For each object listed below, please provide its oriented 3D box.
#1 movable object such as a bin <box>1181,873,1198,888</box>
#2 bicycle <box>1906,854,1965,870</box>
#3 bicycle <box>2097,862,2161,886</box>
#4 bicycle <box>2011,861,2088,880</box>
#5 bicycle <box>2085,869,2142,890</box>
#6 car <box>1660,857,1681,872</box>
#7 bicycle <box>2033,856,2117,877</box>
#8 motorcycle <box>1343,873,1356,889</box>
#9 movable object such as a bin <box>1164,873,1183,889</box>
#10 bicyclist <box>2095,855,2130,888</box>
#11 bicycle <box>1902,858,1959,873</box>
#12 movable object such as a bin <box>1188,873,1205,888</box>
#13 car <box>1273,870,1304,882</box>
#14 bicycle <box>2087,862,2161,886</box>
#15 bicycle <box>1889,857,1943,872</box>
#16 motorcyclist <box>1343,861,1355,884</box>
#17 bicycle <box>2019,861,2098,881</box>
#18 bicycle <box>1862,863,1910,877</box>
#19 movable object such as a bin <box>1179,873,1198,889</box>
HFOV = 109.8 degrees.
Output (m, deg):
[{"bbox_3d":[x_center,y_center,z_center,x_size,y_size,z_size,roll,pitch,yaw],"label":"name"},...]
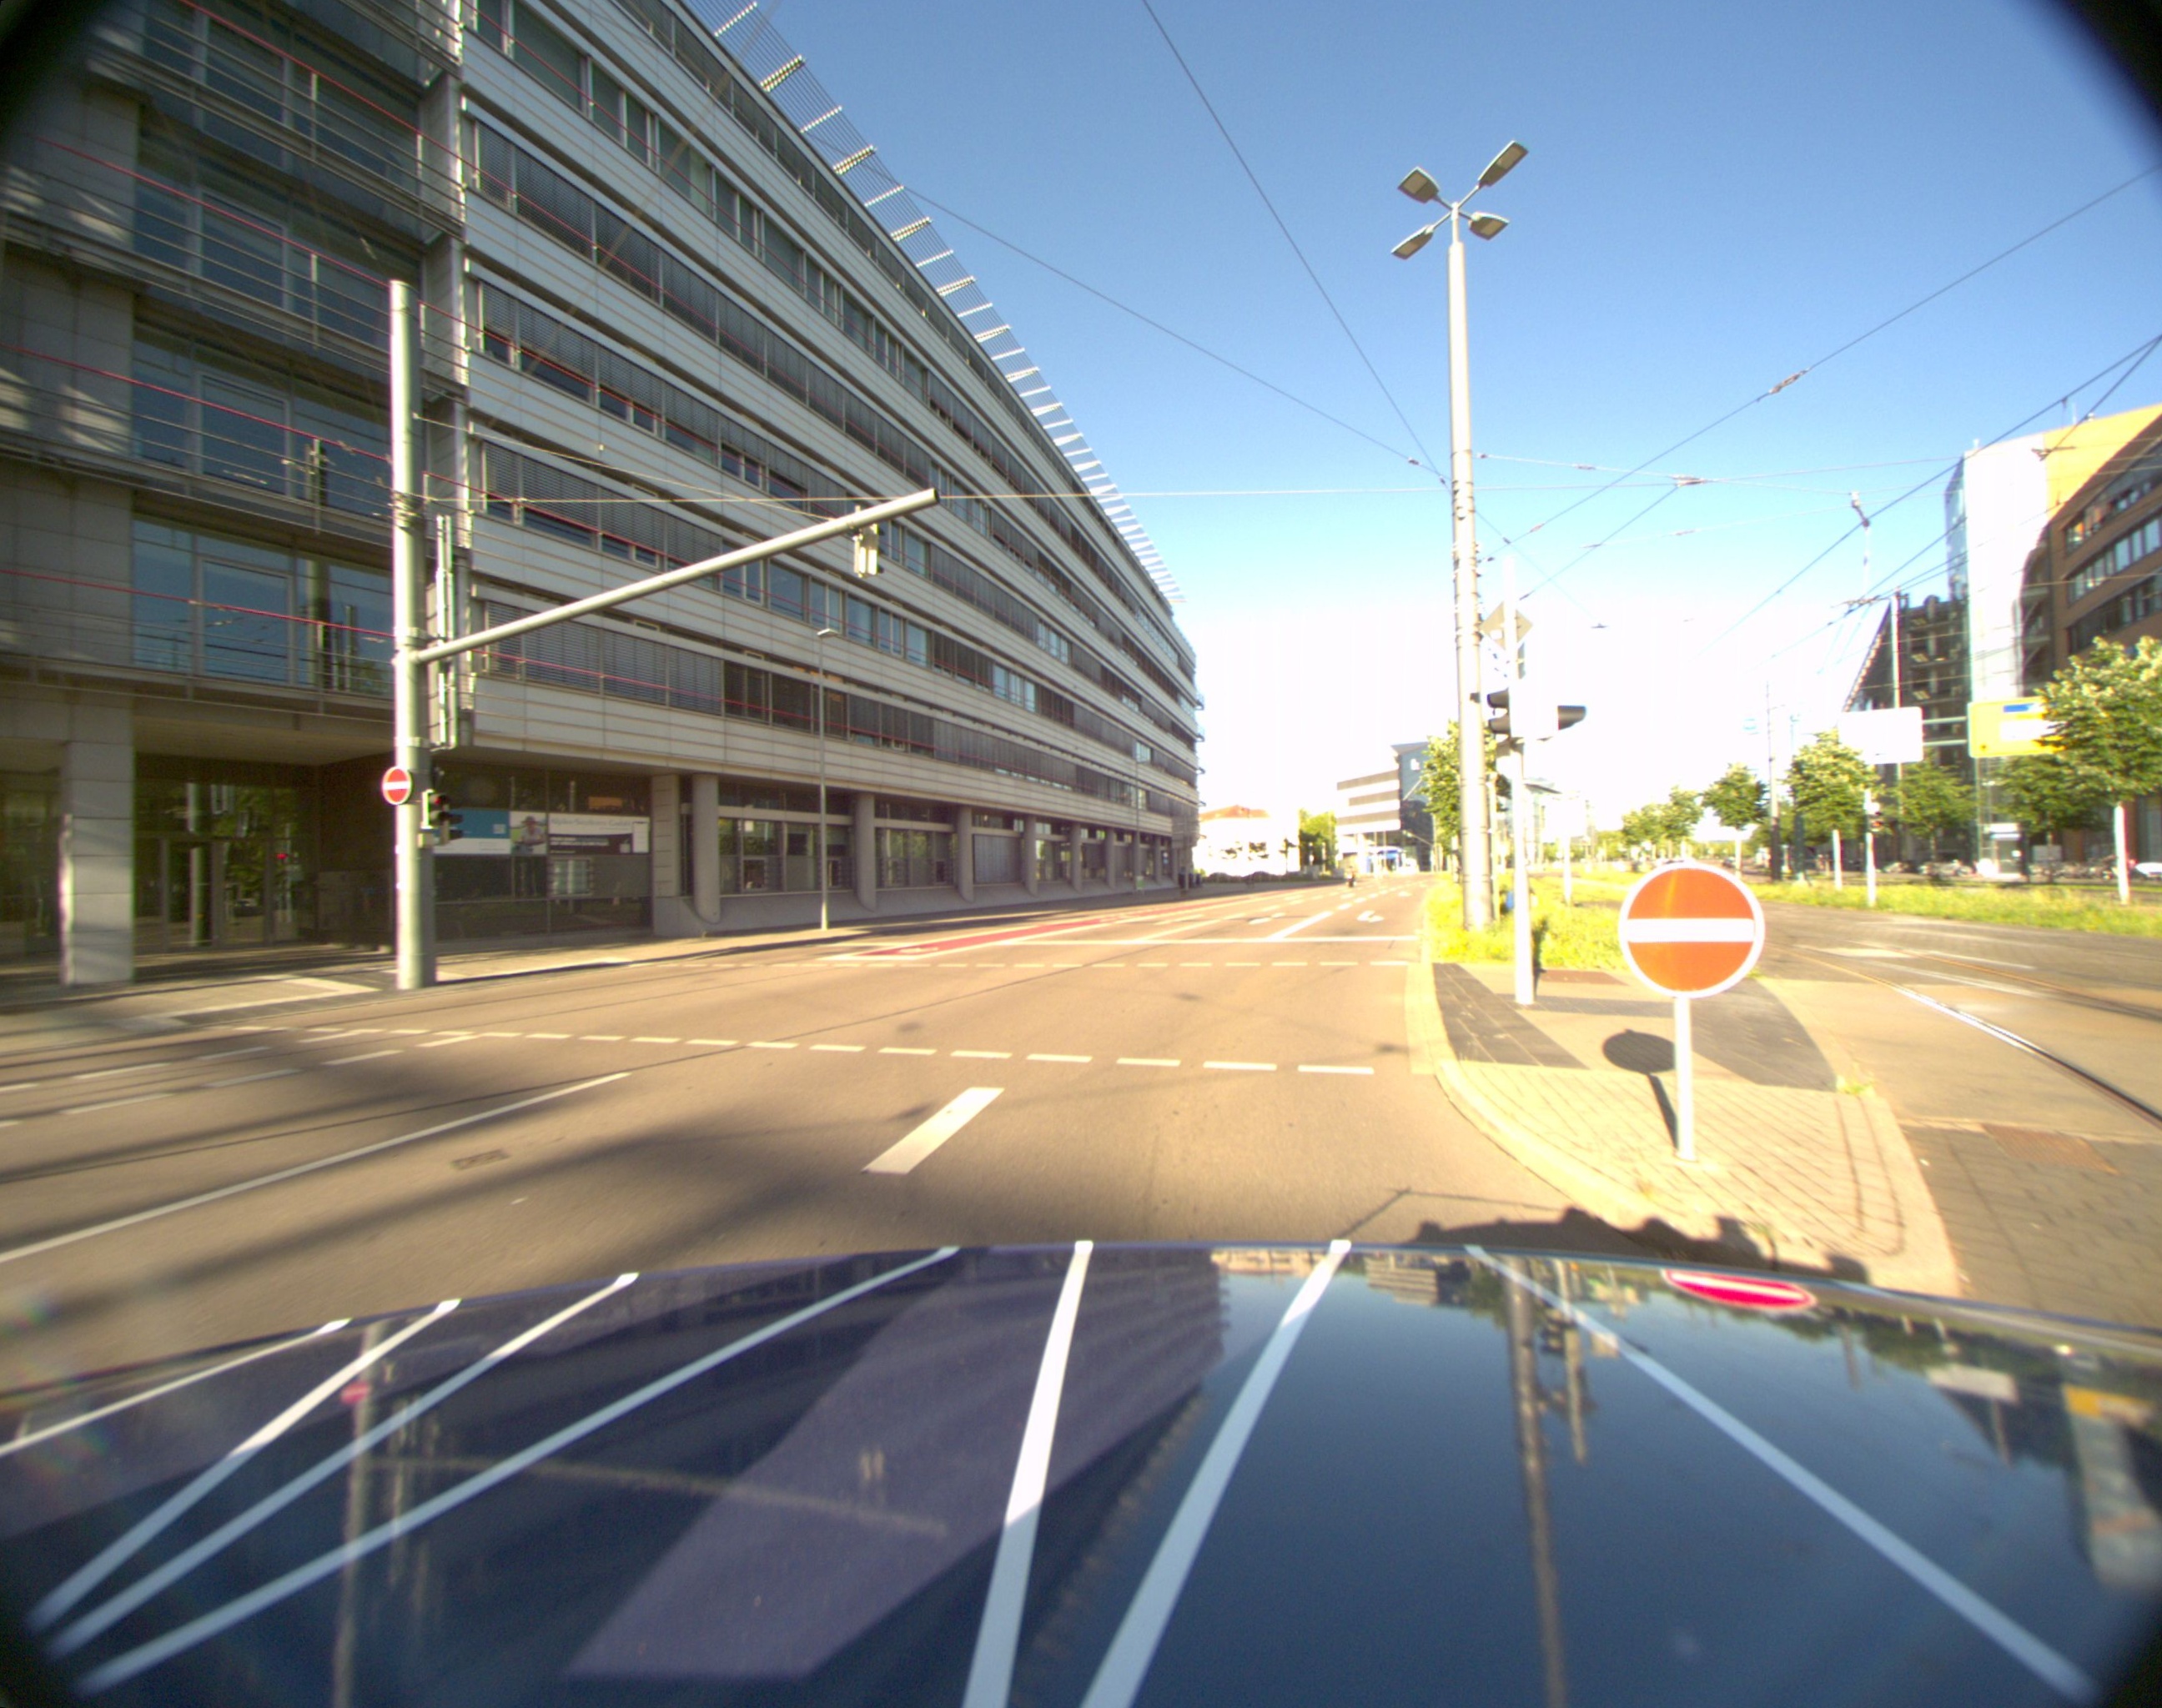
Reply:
[{"bbox_3d":[9.773,2.343,68.441,1.171,1.293,1.331,-2,-1,26],"label":"movable object such as a bin"},{"bbox_3d":[61.894,0.578,55.047,2.684,1.097,0.898,-3,-2,36],"label":"bicycle"},{"bbox_3d":[51.603,0.959,36.802,2.684,1.097,0.898,-3,-2,36],"label":"bicycle"},{"bbox_3d":[58.333,1.010,45.796,2.684,1.097,0.898,-3,-2,36],"label":"bicycle"},{"bbox_3d":[49.668,1.225,36.581,0.690,0.944,2.071,-2,-1,24],"label":"bicycle"},{"bbox_3d":[66.209,1.173,85.341,1.623,1.518,4.814,-3,-2,40],"label":"car"},{"bbox_3d":[55.663,0.732,42.593,2.684,1.097,0.898,-3,-2,36],"label":"bicycle"},{"bbox_3d":[21.403,2.145,60.584,0.820,1.214,2.259,-1,-1,23],"label":"motorcycle"},{"bbox_3d":[8.007,2.353,65.781,1.325,1.293,1.176,-2,-1,25],"label":"movable object such as a bin"},{"bbox_3d":[49.636,0.845,36.569,0.690,1.520,0.704,-2,-1,24],"label":"bicyclist"},{"bbox_3d":[63.169,0.864,56.520,2.684,1.097,0.898,-3,-2,36],"label":"bicycle"},{"bbox_3d":[10.572,2.396,69.583,1.171,1.293,1.331,-2,-1,26],"label":"movable object such as a bin"},{"bbox_3d":[27.575,2.933,100.998,1.743,1.522,3.794,-1,-2,-28],"label":"car"},{"bbox_3d":[52.214,0.991,37.654,2.684,1.097,0.898,-3,-2,36],"label":"bicycle"},{"bbox_3d":[65.321,0.846,59.481,2.684,1.097,0.898,-3,-2,36],"label":"bicycle"},{"bbox_3d":[21.467,1.474,60.762,0.820,1.846,1.114,-1,-1,23],"label":"motorcyclist"},{"bbox_3d":[57.630,0.990,44.840,2.684,1.097,0.898,-3,-2,36],"label":"bicycle"},{"bbox_3d":[68.180,1.359,64.379,2.684,1.097,0.898,-3,-2,36],"label":"bicycle"},{"bbox_3d":[9.227,2.315,65.174,1.325,1.293,1.176,-2,-1,25],"label":"movable object such as a bin"}]
